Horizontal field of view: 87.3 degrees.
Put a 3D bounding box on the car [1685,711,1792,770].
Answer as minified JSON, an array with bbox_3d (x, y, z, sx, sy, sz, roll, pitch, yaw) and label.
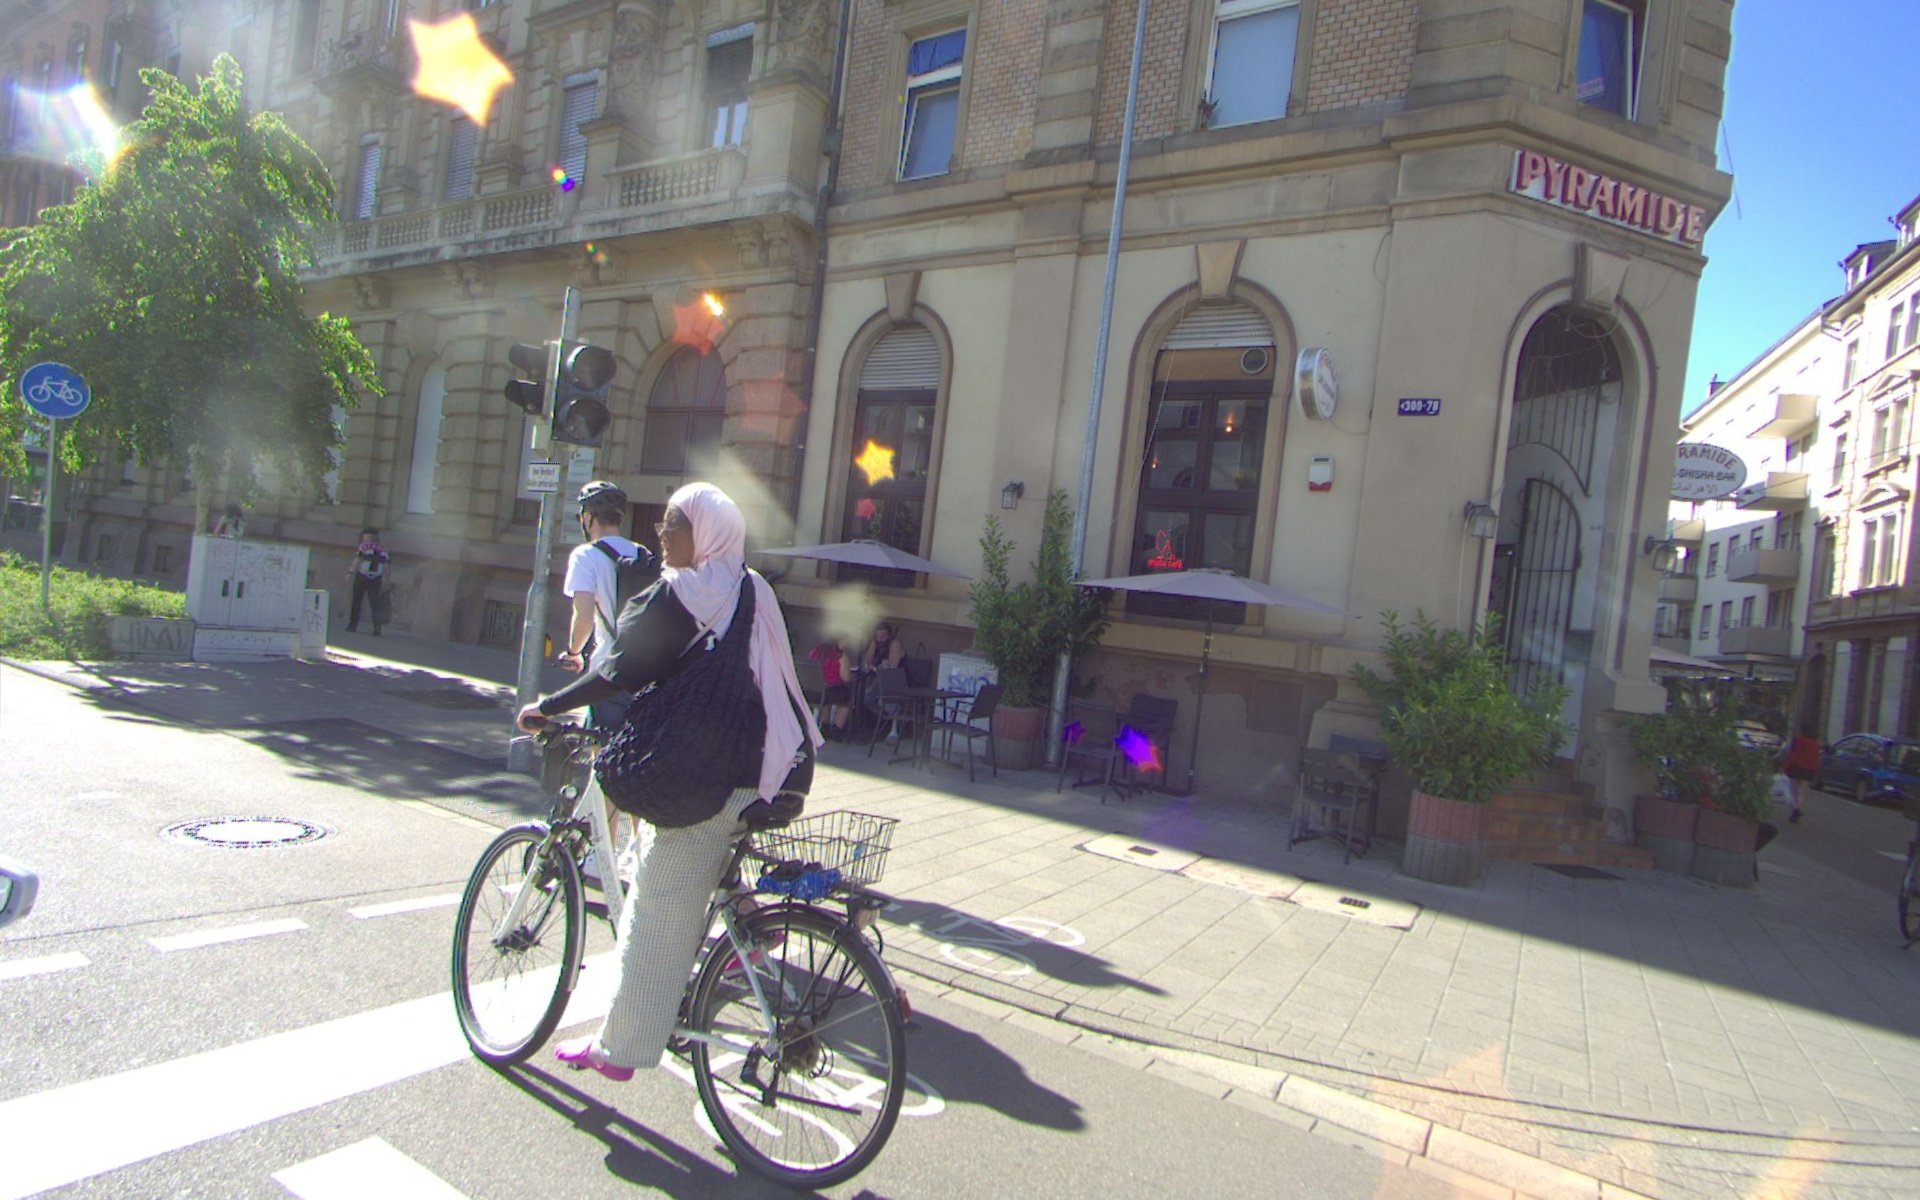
[{"bbox_3d":[22.899,4.083,29.708,1.600,1.337,3.389,6,-2,24],"label":"car"}]

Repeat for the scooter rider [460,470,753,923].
[{"bbox_3d":[-1.655,0.410,4.751,0.882,1.888,0.663,7,-1,27],"label":"scooter rider"}]

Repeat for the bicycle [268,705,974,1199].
[{"bbox_3d":[-1.028,0.958,2.901,1.919,1.018,0.725,7,-2,29],"label":"bicycle"}]

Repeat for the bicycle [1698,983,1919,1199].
[{"bbox_3d":[1.861,1.224,0.911,1.921,1.018,0.724,6,-2,35],"label":"bicycle"}]

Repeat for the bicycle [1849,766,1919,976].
[{"bbox_3d":[7.194,1.962,7.291,0.804,1.247,2.211,11,2,38],"label":"bicycle"}]

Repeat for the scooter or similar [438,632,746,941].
[{"bbox_3d":[-1.734,0.818,4.760,1.130,1.171,0.647,7,-1,26],"label":"scooter or similar"}]

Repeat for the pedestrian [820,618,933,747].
[{"bbox_3d":[-0.924,0.904,11.223,0.873,1.298,0.726,6,0,31],"label":"pedestrian"}]

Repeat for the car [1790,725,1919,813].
[{"bbox_3d":[19.823,3.646,21.792,1.587,1.428,3.703,7,-1,21],"label":"car"}]

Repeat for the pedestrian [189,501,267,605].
[{"bbox_3d":[-14.680,-0.944,20.171,1.081,1.945,0.889,6,2,37],"label":"pedestrian"}]

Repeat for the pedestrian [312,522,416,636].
[{"bbox_3d":[-9.726,-0.330,16.423,1.096,1.714,0.969,6,2,33],"label":"pedestrian"}]

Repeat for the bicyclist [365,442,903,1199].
[{"bbox_3d":[-0.920,0.554,2.882,1.072,1.839,0.725,7,-1,30],"label":"bicyclist"}]

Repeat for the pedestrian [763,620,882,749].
[{"bbox_3d":[-1.427,0.870,10.473,0.867,1.197,0.718,6,0,31],"label":"pedestrian"}]

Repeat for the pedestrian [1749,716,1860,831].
[{"bbox_3d":[13.201,2.688,15.755,0.891,1.592,0.835,7,-1,4],"label":"pedestrian"}]
